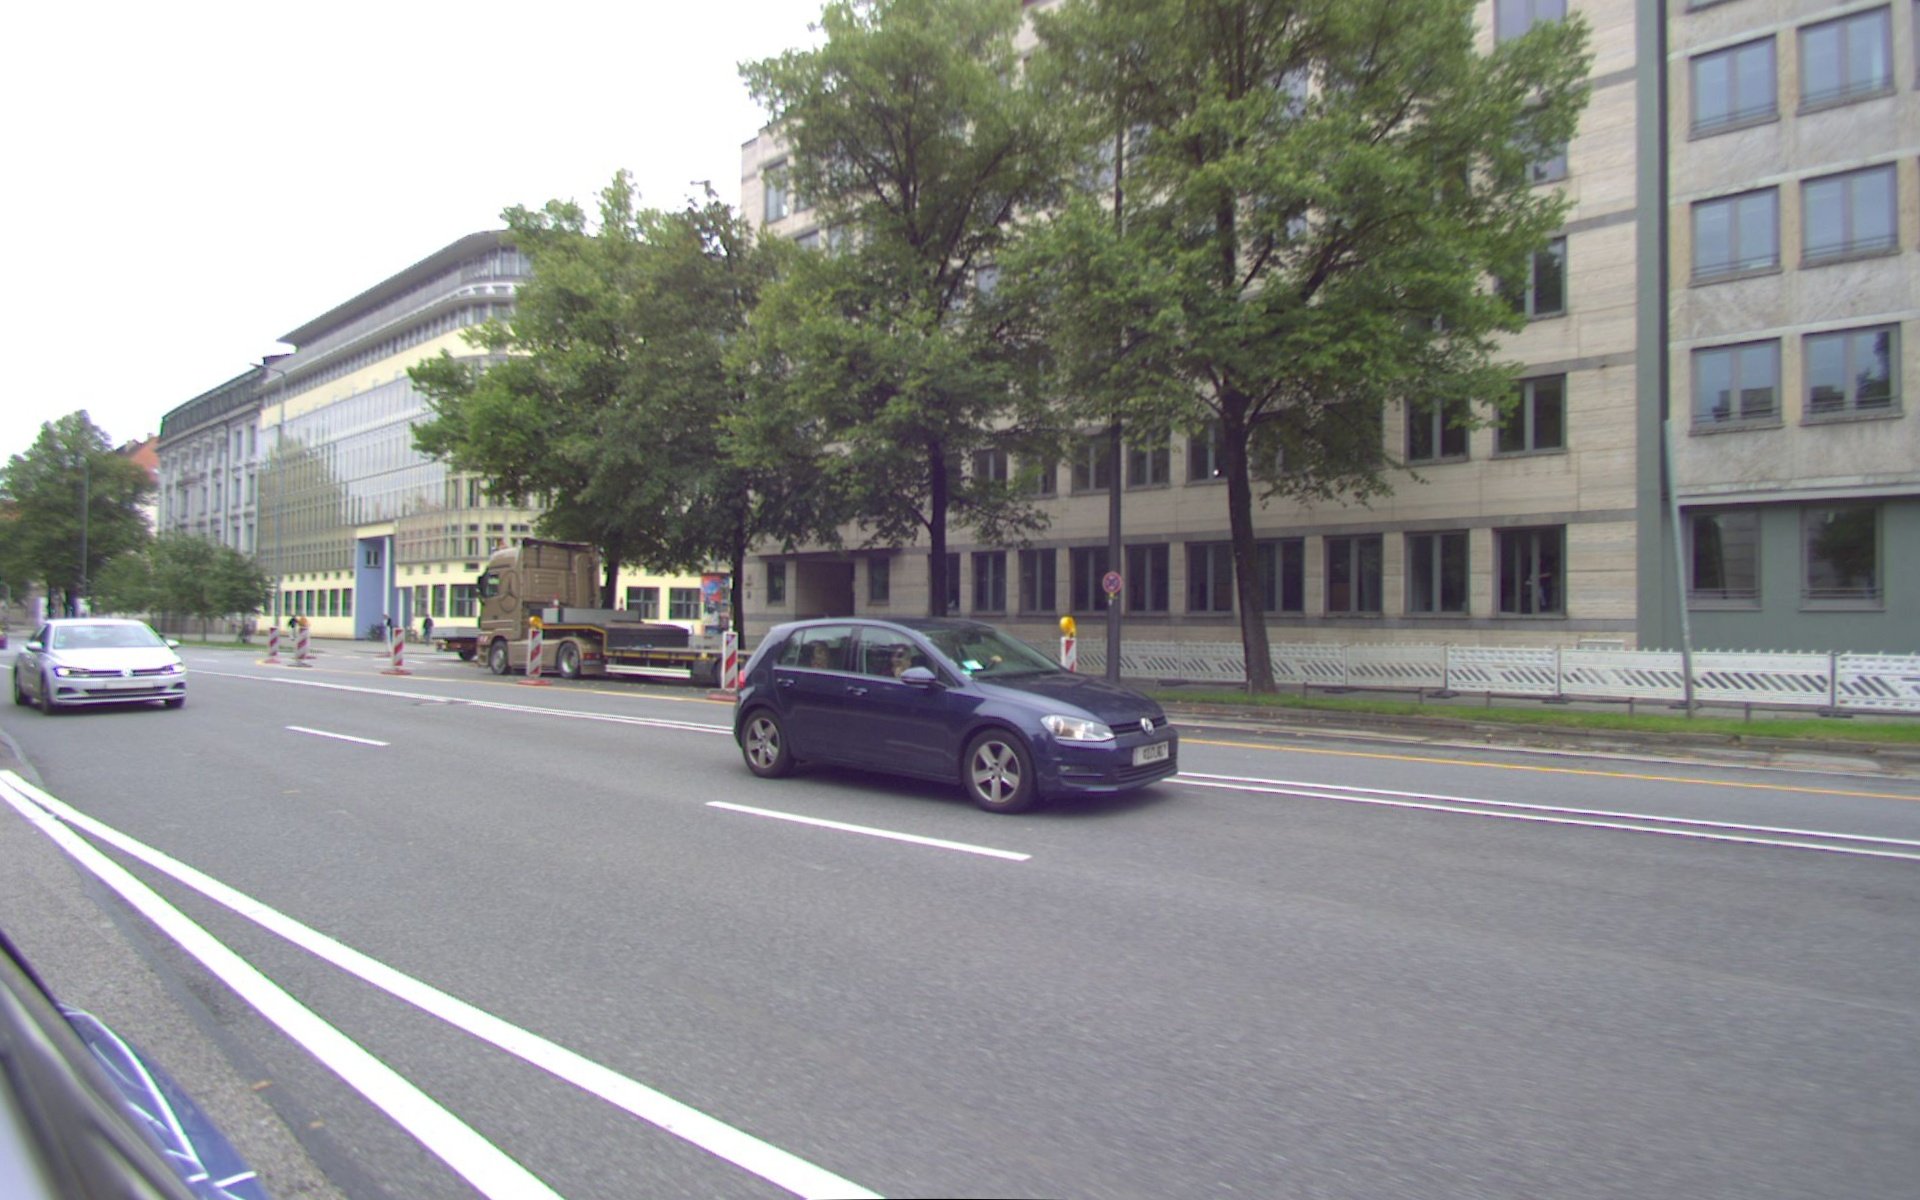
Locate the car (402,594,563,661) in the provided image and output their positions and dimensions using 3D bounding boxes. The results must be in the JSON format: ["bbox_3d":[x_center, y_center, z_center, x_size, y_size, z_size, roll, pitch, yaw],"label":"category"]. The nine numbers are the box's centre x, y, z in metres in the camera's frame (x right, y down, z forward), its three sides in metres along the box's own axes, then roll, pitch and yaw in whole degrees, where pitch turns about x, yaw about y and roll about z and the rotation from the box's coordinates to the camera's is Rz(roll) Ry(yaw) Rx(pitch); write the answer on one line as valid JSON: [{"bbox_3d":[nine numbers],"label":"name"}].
[{"bbox_3d":[-19.510,1.138,41.595,2.152,2.556,5.629,-1,-2,36],"label":"car"}]

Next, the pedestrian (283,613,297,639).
[{"bbox_3d":[-46.464,1.788,70.171,0.835,1.790,0.609,-1,-1,41],"label":"pedestrian"}]

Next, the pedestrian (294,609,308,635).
[{"bbox_3d":[-46.051,1.509,70.686,0.835,1.790,0.609,-1,-1,41],"label":"pedestrian"}]

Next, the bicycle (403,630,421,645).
[{"bbox_3d":[-33.233,2.275,61.345,1.737,0.884,0.471,-1,-3,44],"label":"bicycle"}]

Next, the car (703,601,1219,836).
[{"bbox_3d":[-0.172,0.814,8.617,4.335,1.528,1.674,-1,-2,40],"label":"car"}]

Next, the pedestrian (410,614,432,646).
[{"bbox_3d":[-30.677,1.695,57.645,0.978,1.746,0.817,0,-1,-19],"label":"pedestrian"}]

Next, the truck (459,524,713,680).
[{"bbox_3d":[-10.492,0.097,27.999,7.651,3.803,2.889,-1,-1,37],"label":"truck"}]

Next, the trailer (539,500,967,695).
[{"bbox_3d":[-5.442,0.024,24.278,11.746,3.768,2.923,-1,-1,36],"label":"trailer"}]

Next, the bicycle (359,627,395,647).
[{"bbox_3d":[-38.931,2.466,67.608,0.573,1.328,1.991,-1,-1,35],"label":"bicycle"}]

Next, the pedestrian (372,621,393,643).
[{"bbox_3d":[-37.358,2.077,65.431,1.085,1.375,0.829,-1,-3,40],"label":"pedestrian"}]

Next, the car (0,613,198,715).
[{"bbox_3d":[-14.146,0.956,16.554,4.272,1.458,1.774,-1,-2,40],"label":"car"}]

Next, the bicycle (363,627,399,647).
[{"bbox_3d":[-38.442,2.447,67.213,0.573,1.328,1.991,-1,-1,35],"label":"bicycle"}]

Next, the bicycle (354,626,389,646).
[{"bbox_3d":[-39.610,2.419,68.117,0.637,1.328,1.991,-1,-1,35],"label":"bicycle"}]
